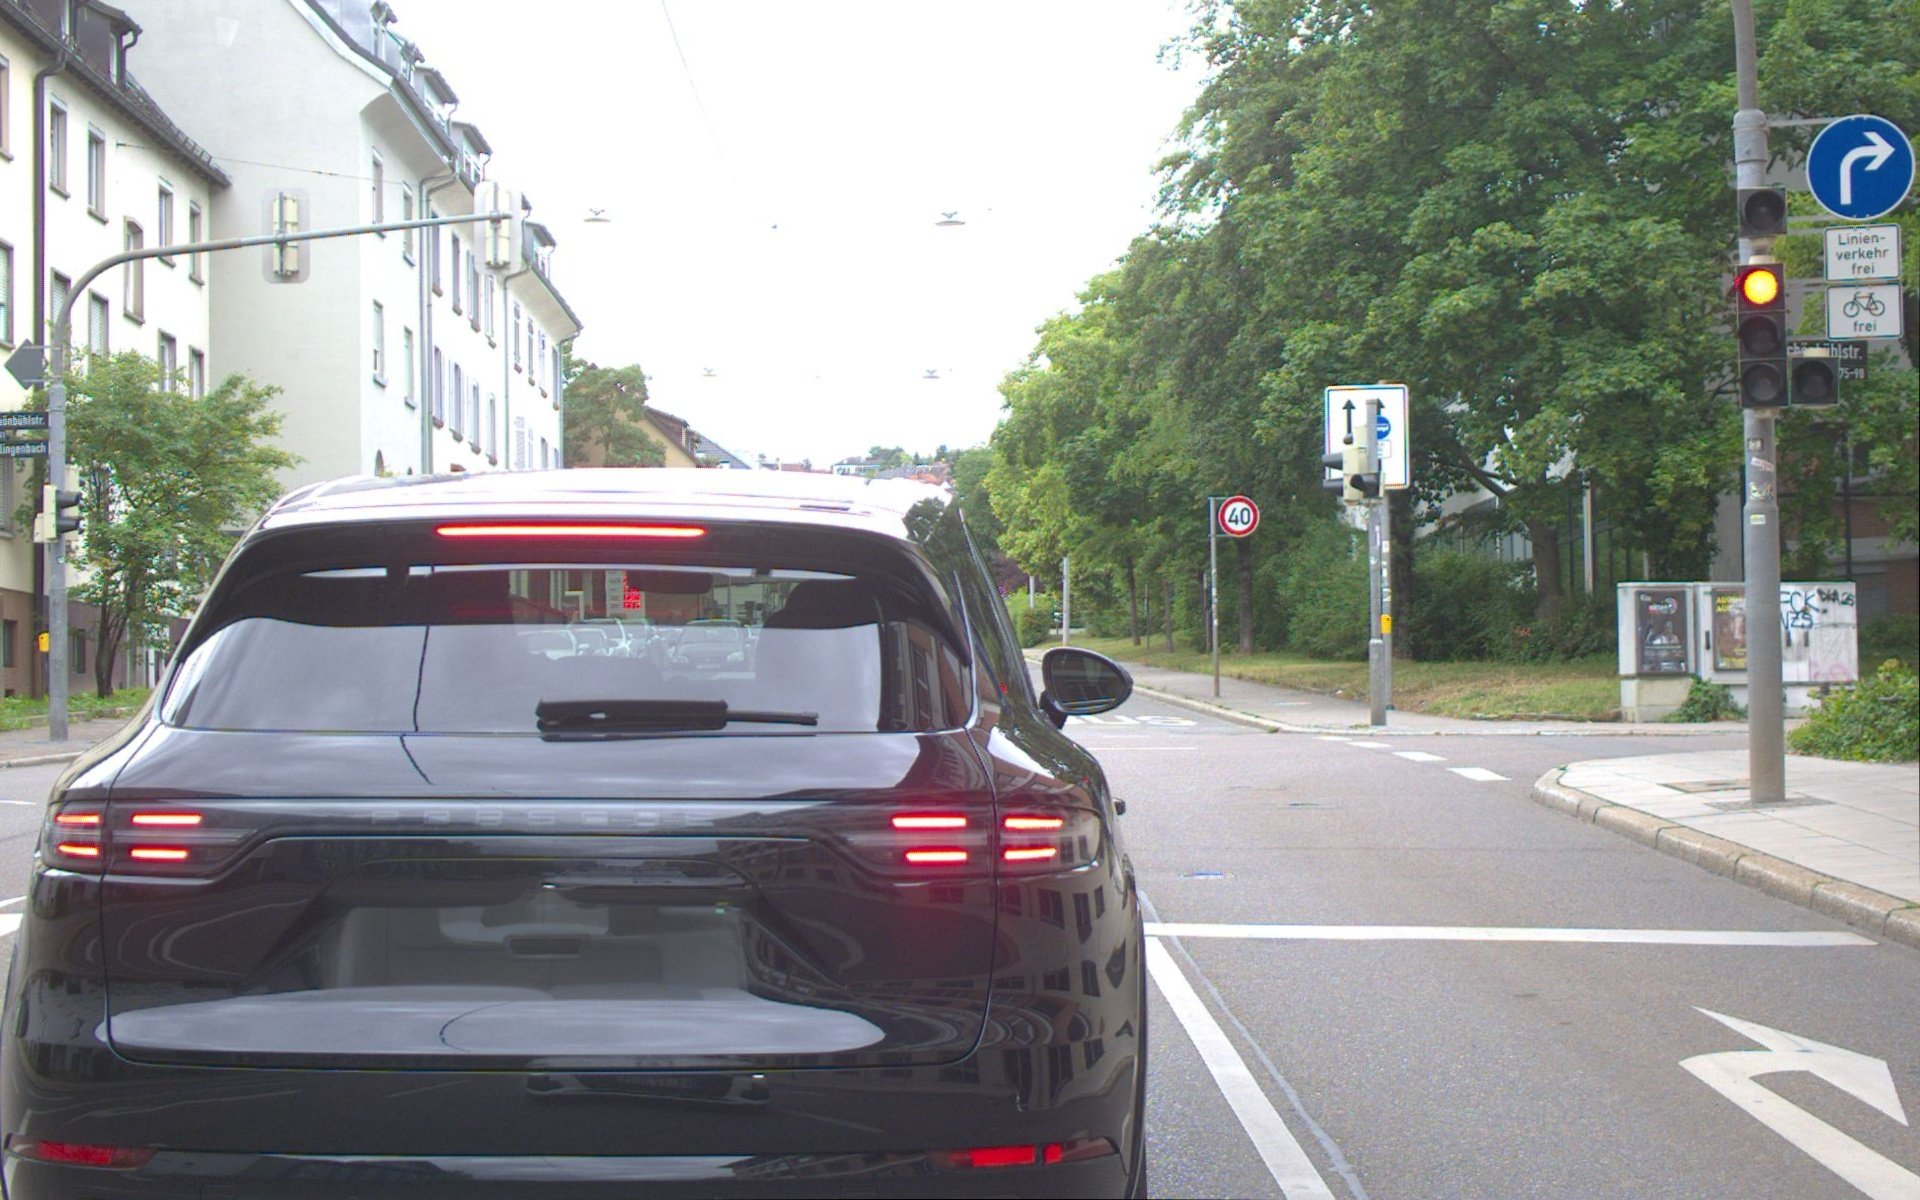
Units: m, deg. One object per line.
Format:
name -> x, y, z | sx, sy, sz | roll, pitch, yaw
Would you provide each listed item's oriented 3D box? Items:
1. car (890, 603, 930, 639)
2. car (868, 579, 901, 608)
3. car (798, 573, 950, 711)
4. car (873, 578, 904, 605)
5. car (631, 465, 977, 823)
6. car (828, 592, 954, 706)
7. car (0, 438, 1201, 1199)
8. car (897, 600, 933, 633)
car -> -2.360, 0.971, 163.316 | 1.827, 1.599, 4.135 | 1, 1, 0
car -> -4.460, -0.377, 202.952 | 1.827, 1.599, 4.135 | 1, 1, 0
car -> -1.058, 0.495, 43.828 | 1.827, 1.599, 4.135 | 1, 1, 0
car -> -4.361, -0.529, 210.277 | 1.827, 1.599, 4.135 | 1, 1, 0
car -> -0.911, 0.217, 21.904 | 1.965, 2.035, 4.135 | 1, 1, 0
car -> -1.033, 0.719, 52.547 | 1.827, 1.599, 3.859 | 1, 1, 0
car -> -0.692, 0.565, 7.256 | 2.048, 1.660, 4.267 | 1, 1, 0
car -> -2.366, 0.863, 182.492 | 1.827, 1.599, 4.135 | 1, 1, 0
